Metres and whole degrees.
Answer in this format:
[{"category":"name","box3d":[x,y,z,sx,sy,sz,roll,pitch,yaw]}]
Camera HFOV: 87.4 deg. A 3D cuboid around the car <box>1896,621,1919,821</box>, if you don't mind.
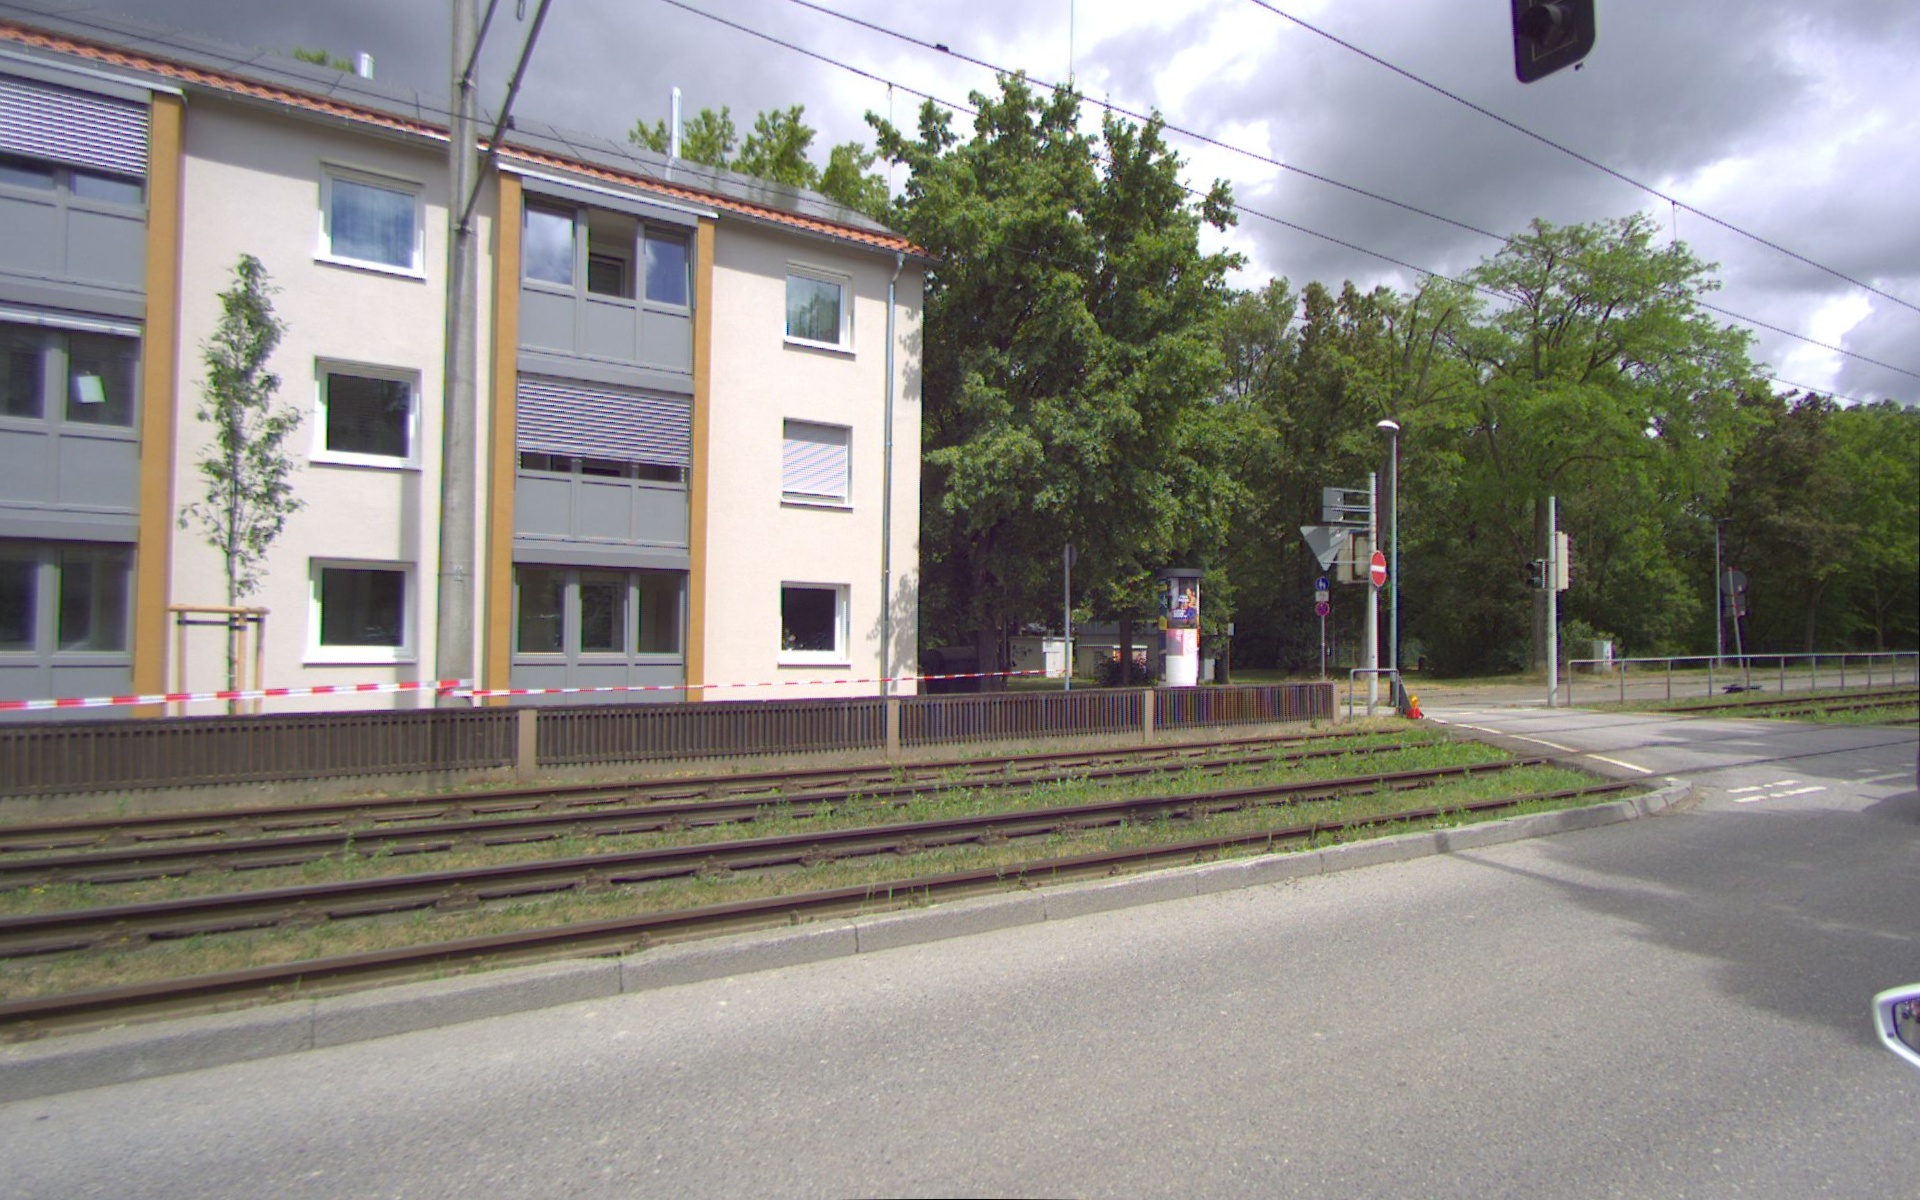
[{"category":"car","box3d":[9.180,0.954,7.946,3.761,1.505,1.574,1,0,-30]}]
